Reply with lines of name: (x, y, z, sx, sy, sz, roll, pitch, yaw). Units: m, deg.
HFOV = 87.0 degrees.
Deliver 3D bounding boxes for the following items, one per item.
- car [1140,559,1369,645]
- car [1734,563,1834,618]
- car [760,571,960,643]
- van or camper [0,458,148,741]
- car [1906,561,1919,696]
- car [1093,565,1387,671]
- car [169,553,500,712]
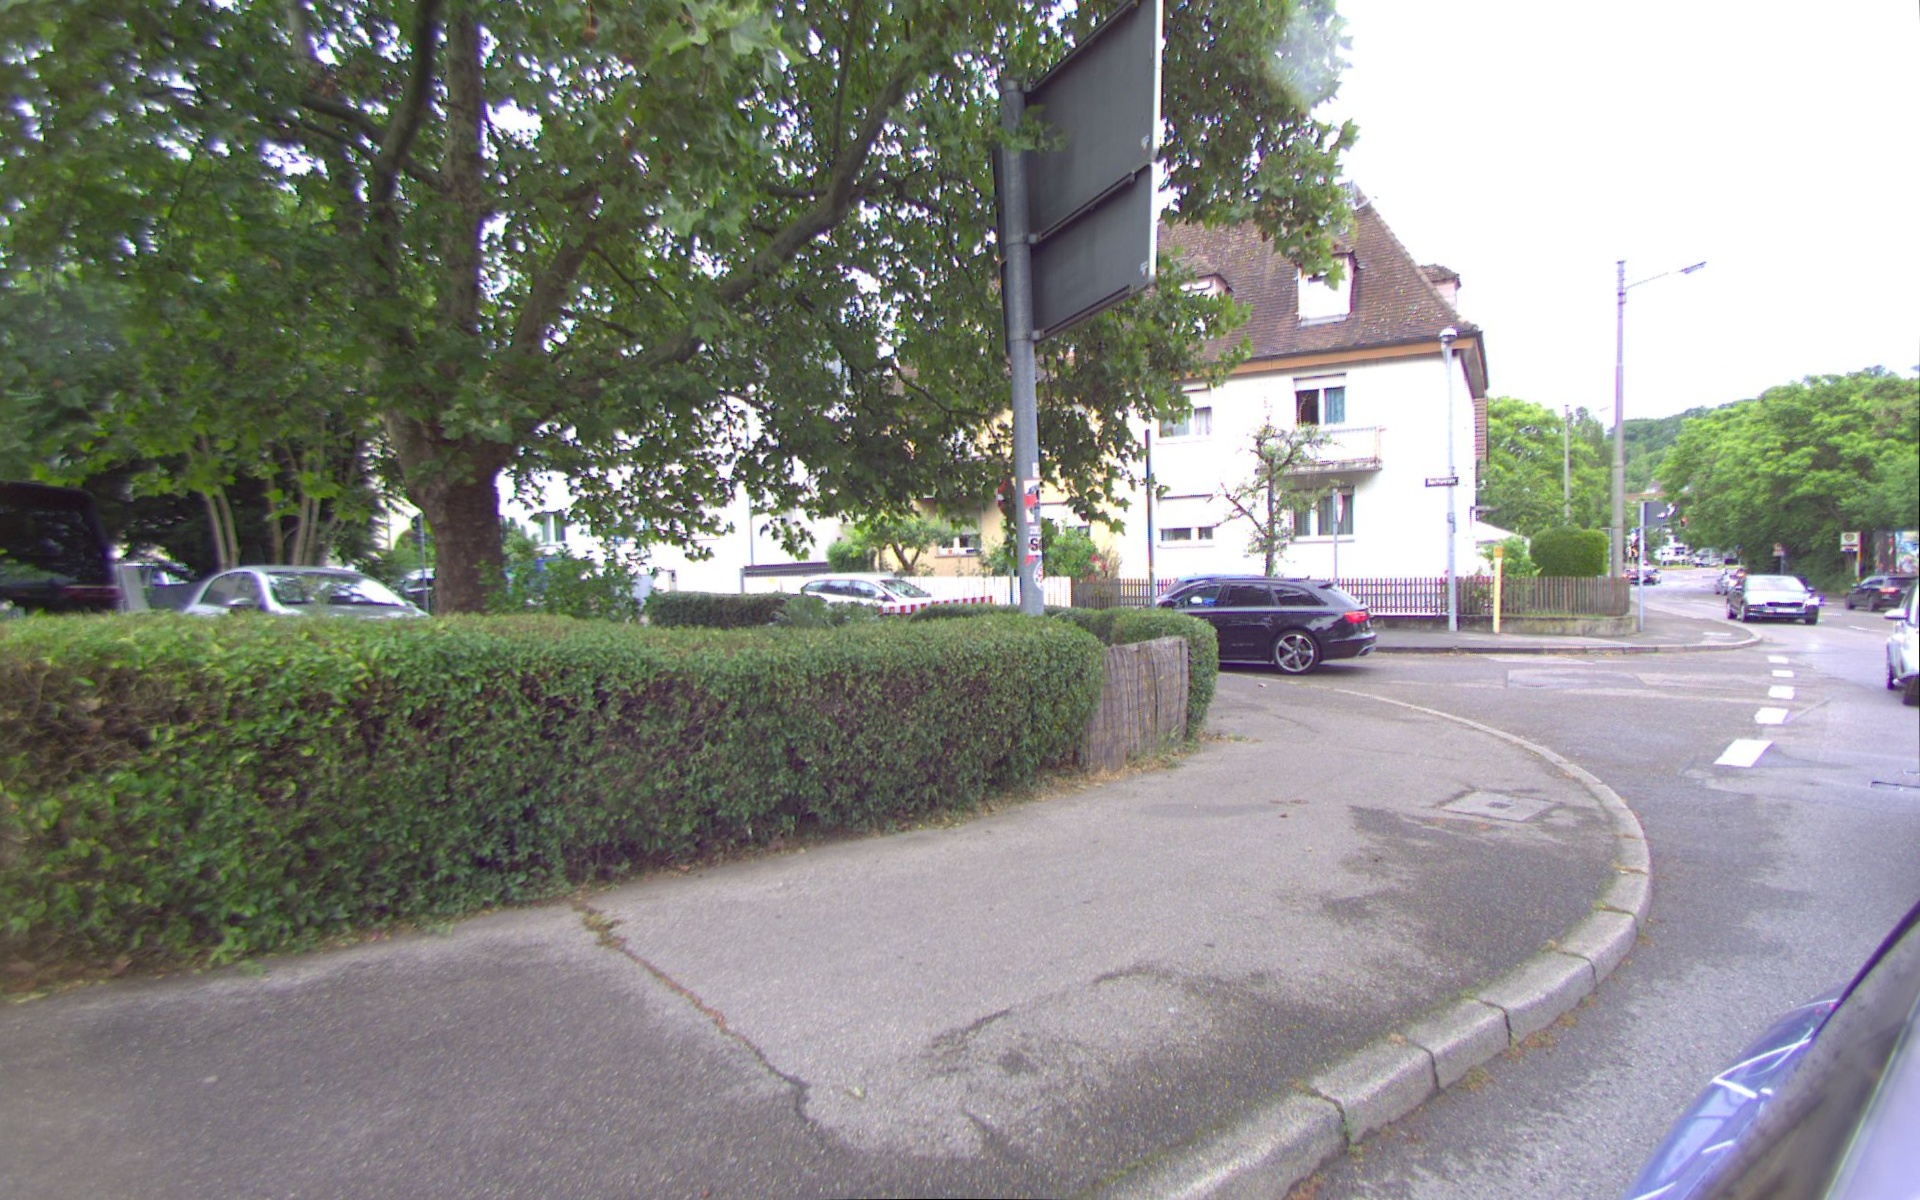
car: (5.638, -0.022, 19.397, 3.960, 1.482, 1.845, 1, 2, 26)
car: (25.091, -0.312, 30.957, 1.694, 1.577, 3.959, 0, 1, 29)
car: (-2.352, 0.110, 23.591, 4.356, 1.532, 1.979, 0, 1, 30)
van or camper: (-8.502, -0.017, 7.782, 4.286, 1.927, 1.981, 0, 1, 27)
car: (12.907, 0.315, 12.587, 1.640, 1.577, 3.572, 1, 1, 43)
car: (4.539, 0.231, 16.474, 4.350, 1.532, 1.982, 0, 1, 27)
car: (-7.174, 0.266, 11.488, 3.979, 1.482, 1.973, 1, 1, 38)
